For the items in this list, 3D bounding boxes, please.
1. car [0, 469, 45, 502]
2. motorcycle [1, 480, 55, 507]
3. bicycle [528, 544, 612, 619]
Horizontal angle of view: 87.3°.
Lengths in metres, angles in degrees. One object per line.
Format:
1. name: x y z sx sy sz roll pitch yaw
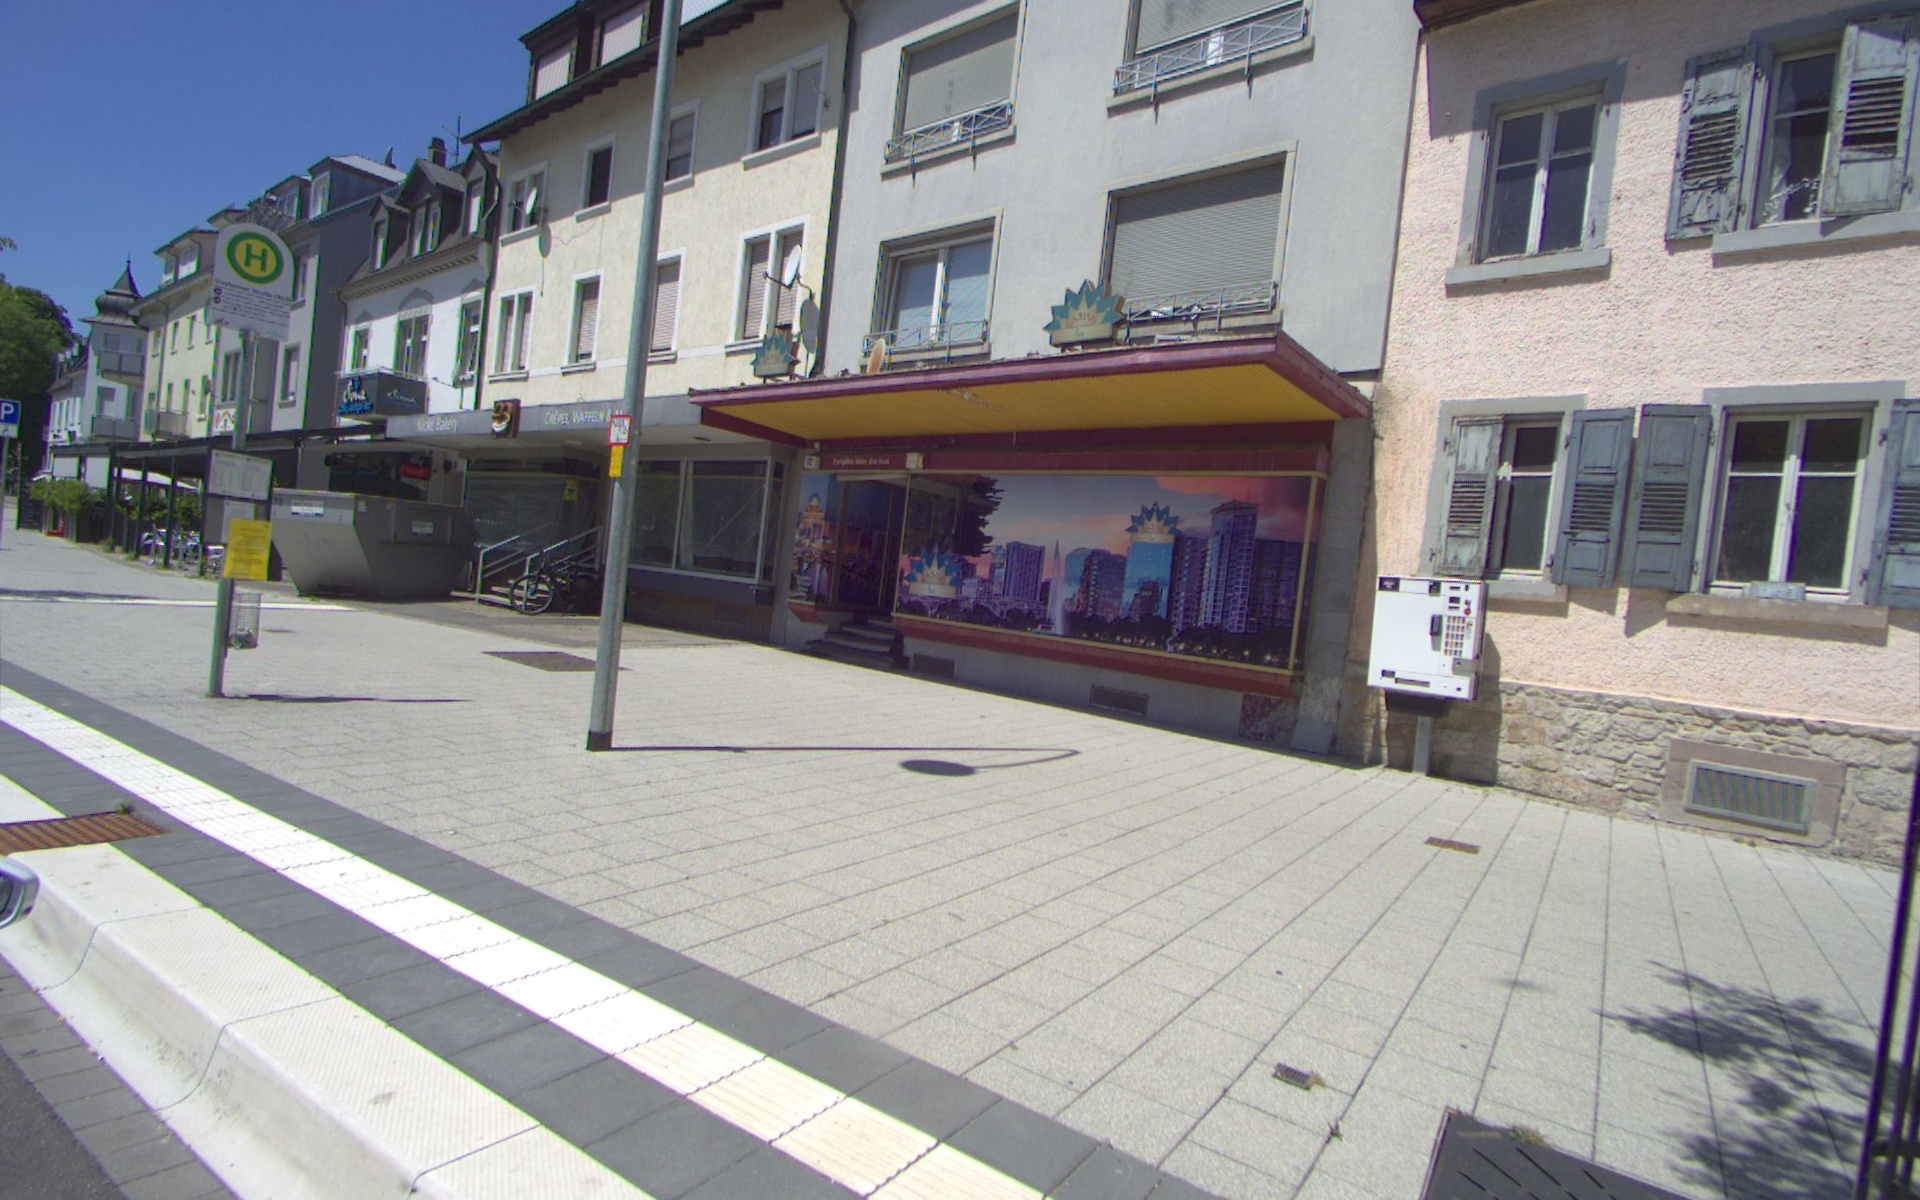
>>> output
1. car: -62.299 -7.634 65.284 1.830 1.736 4.072 7 -1 41
2. motorcycle: -59.157 -6.727 63.859 0.844 1.291 2.373 8 0 42
3. bicycle: -7.182 -0.336 18.556 1.265 1.198 0.410 8 -1 -40
